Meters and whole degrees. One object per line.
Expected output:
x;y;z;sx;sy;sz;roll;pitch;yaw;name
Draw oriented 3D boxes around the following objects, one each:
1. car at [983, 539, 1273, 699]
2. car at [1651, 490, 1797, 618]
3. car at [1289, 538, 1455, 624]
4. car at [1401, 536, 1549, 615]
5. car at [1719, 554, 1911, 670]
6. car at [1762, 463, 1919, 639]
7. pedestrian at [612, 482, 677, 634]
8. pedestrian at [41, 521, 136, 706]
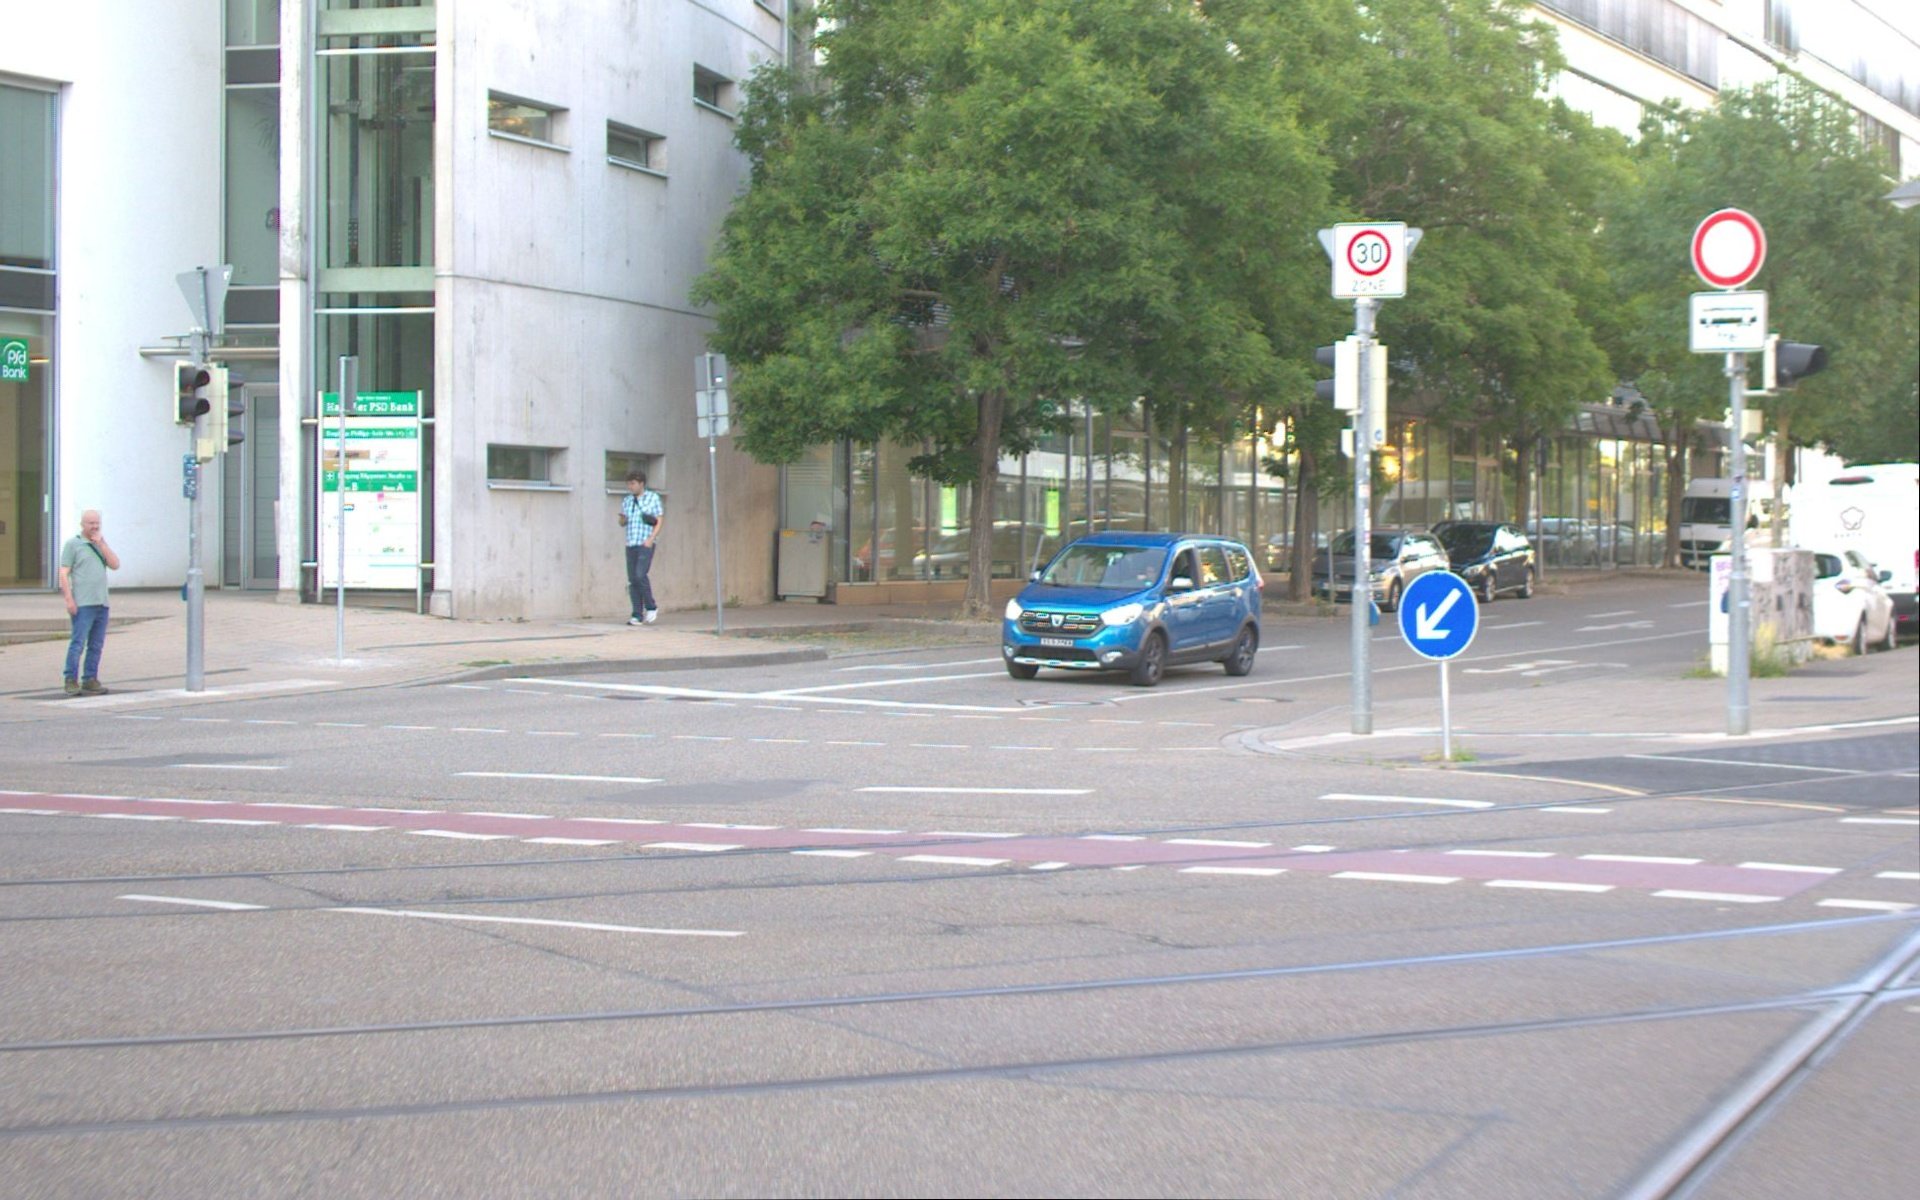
1.983;0.163;39.315;1.685;1.694;4.233;1;2;28;car
19.661;-1.214;88.220;2.204;3.141;6.134;1;2;27;car
7.601;-0.372;63.125;1.685;1.496;4.233;1;2;27;car
10.291;-0.516;68.474;1.685;1.496;4.233;1;2;27;car
11.561;0.125;46.324;1.685;1.434;4.120;1;2;26;car
13.765;-0.766;51.622;2.464;2.474;5.802;1;2;22;car
-4.022;-0.537;43.827;0.662;1.916;0.548;0;1;15;pedestrian
-8.165;0.116;32.203;0.547;1.705;0.658;1;2;36;pedestrian
